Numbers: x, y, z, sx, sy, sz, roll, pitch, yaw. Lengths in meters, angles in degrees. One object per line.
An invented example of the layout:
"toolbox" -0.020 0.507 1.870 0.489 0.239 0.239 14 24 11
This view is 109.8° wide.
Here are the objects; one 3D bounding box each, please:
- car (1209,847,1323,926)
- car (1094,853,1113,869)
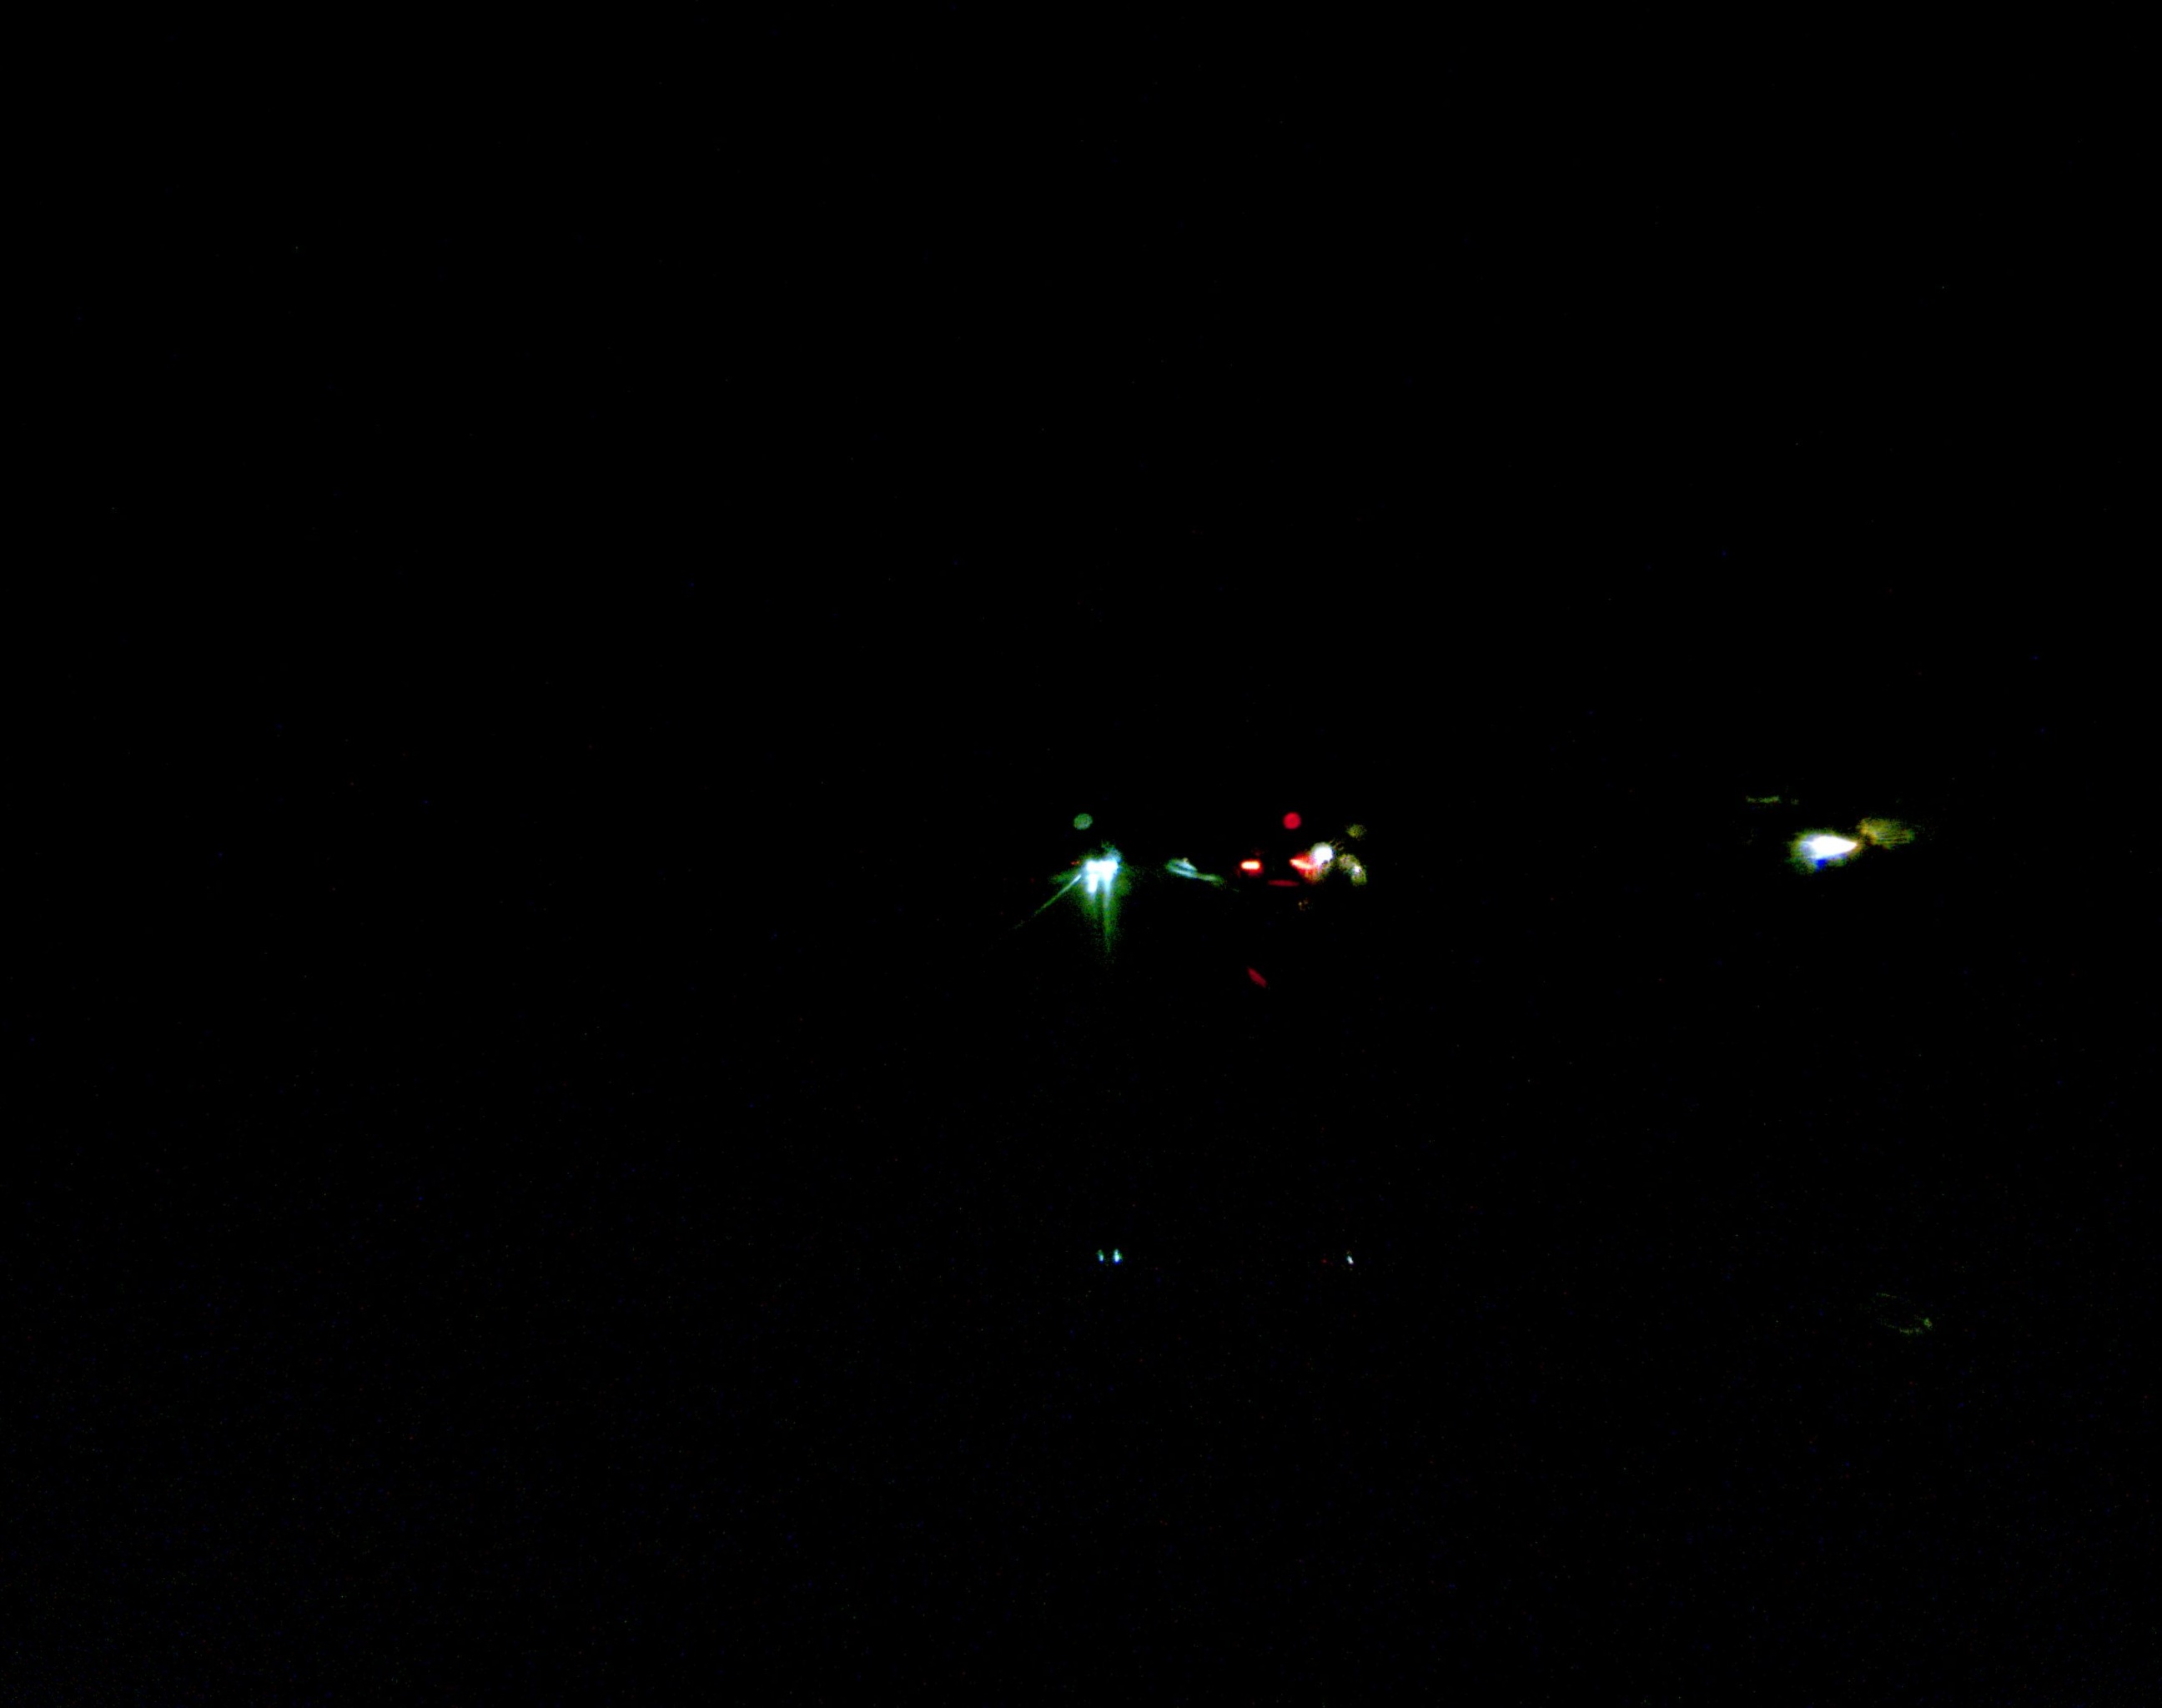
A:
"car" 4.164 0.660 17.744 1.739 1.533 4.000 -3 1 2
"car" 2.492 0.765 83.392 1.959 1.711 4.000 -1 0 1
